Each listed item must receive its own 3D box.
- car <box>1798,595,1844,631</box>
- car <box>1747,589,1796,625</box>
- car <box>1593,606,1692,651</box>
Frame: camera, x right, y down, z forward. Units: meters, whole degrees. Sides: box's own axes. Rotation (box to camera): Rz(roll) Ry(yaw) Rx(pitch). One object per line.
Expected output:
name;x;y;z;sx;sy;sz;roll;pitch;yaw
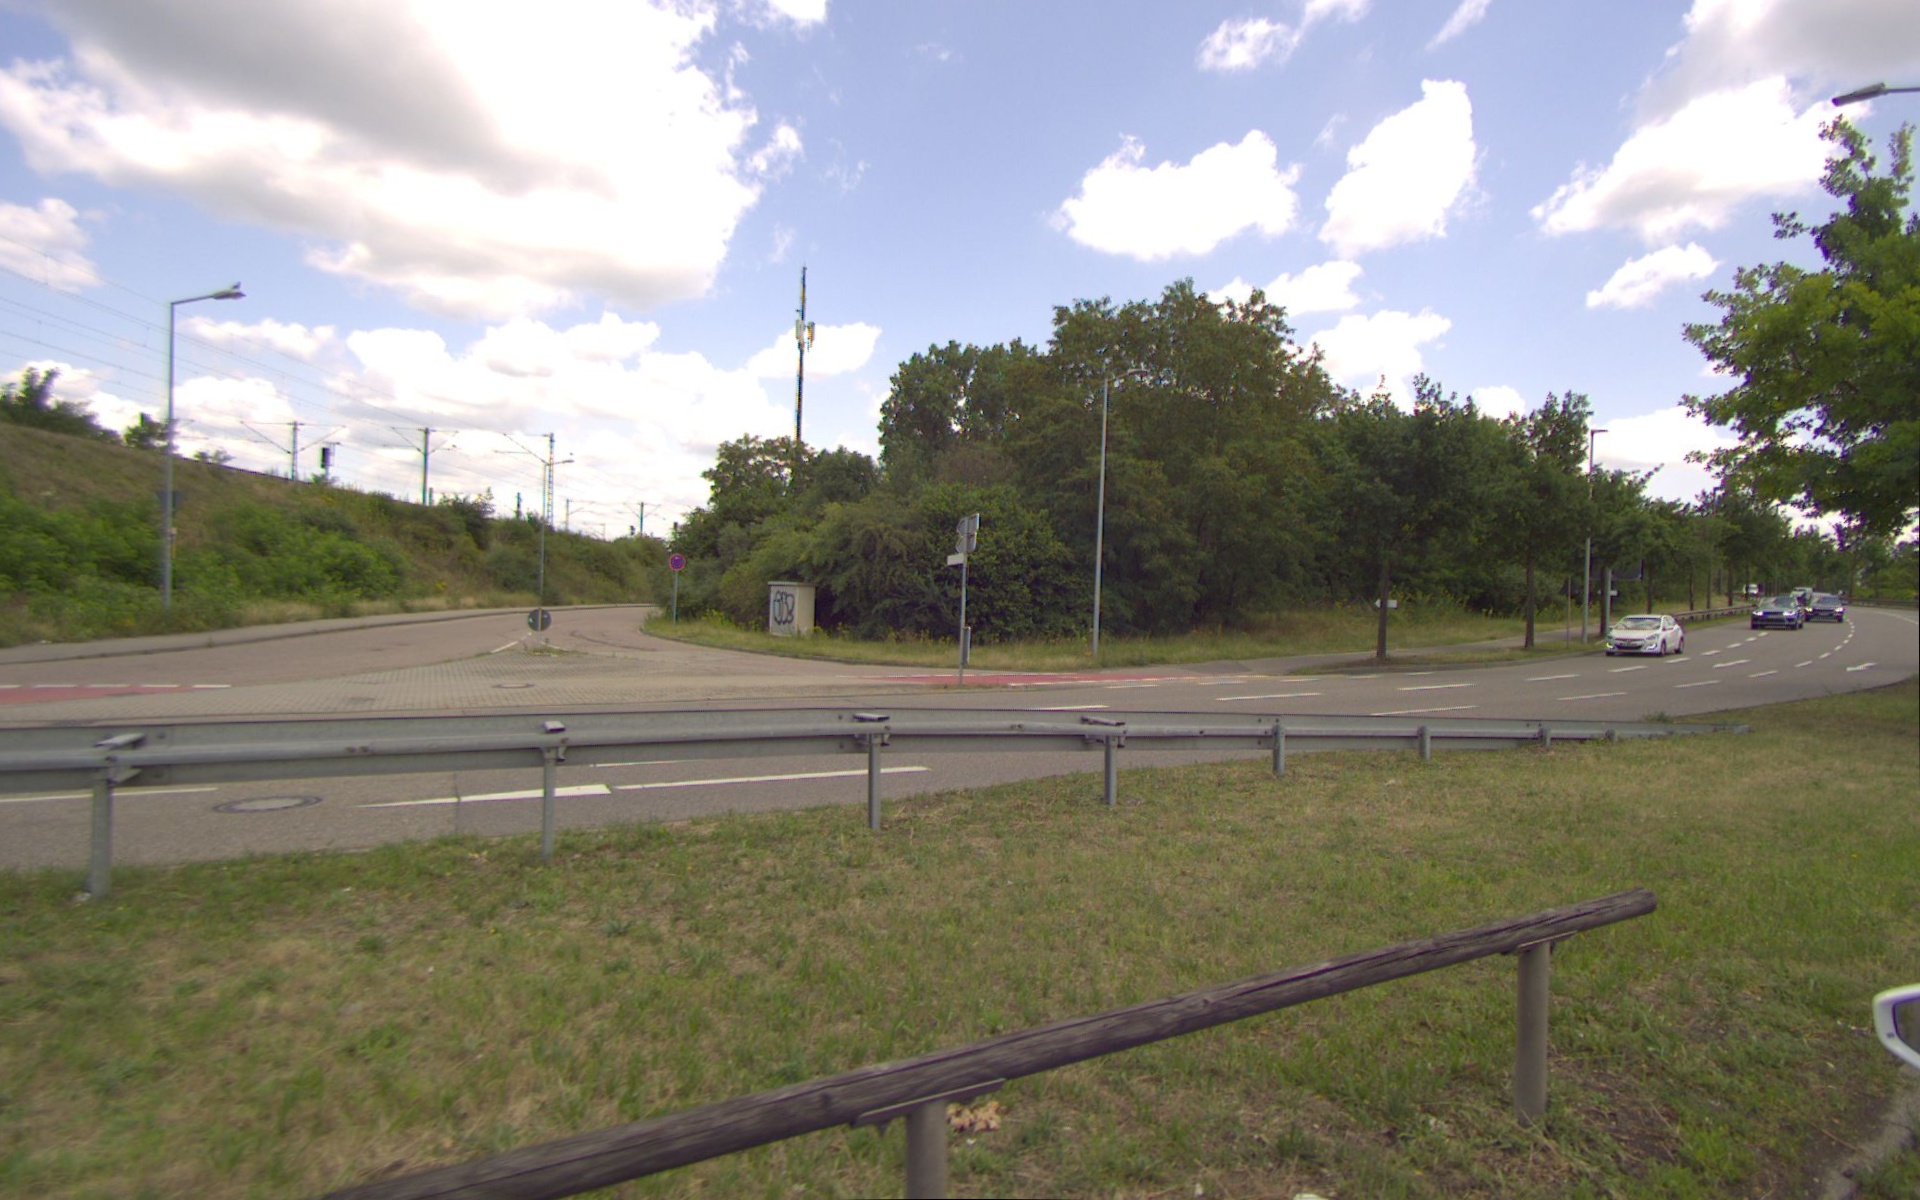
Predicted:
car;55.162;0.793;64.349;1.972;2.041;4.788;2;3;44
car;45.071;0.368;55.851;1.969;1.886;4.695;2;0;38
car;25.241;1.066;37.116;4.296;1.552;1.977;2;-2;-40
